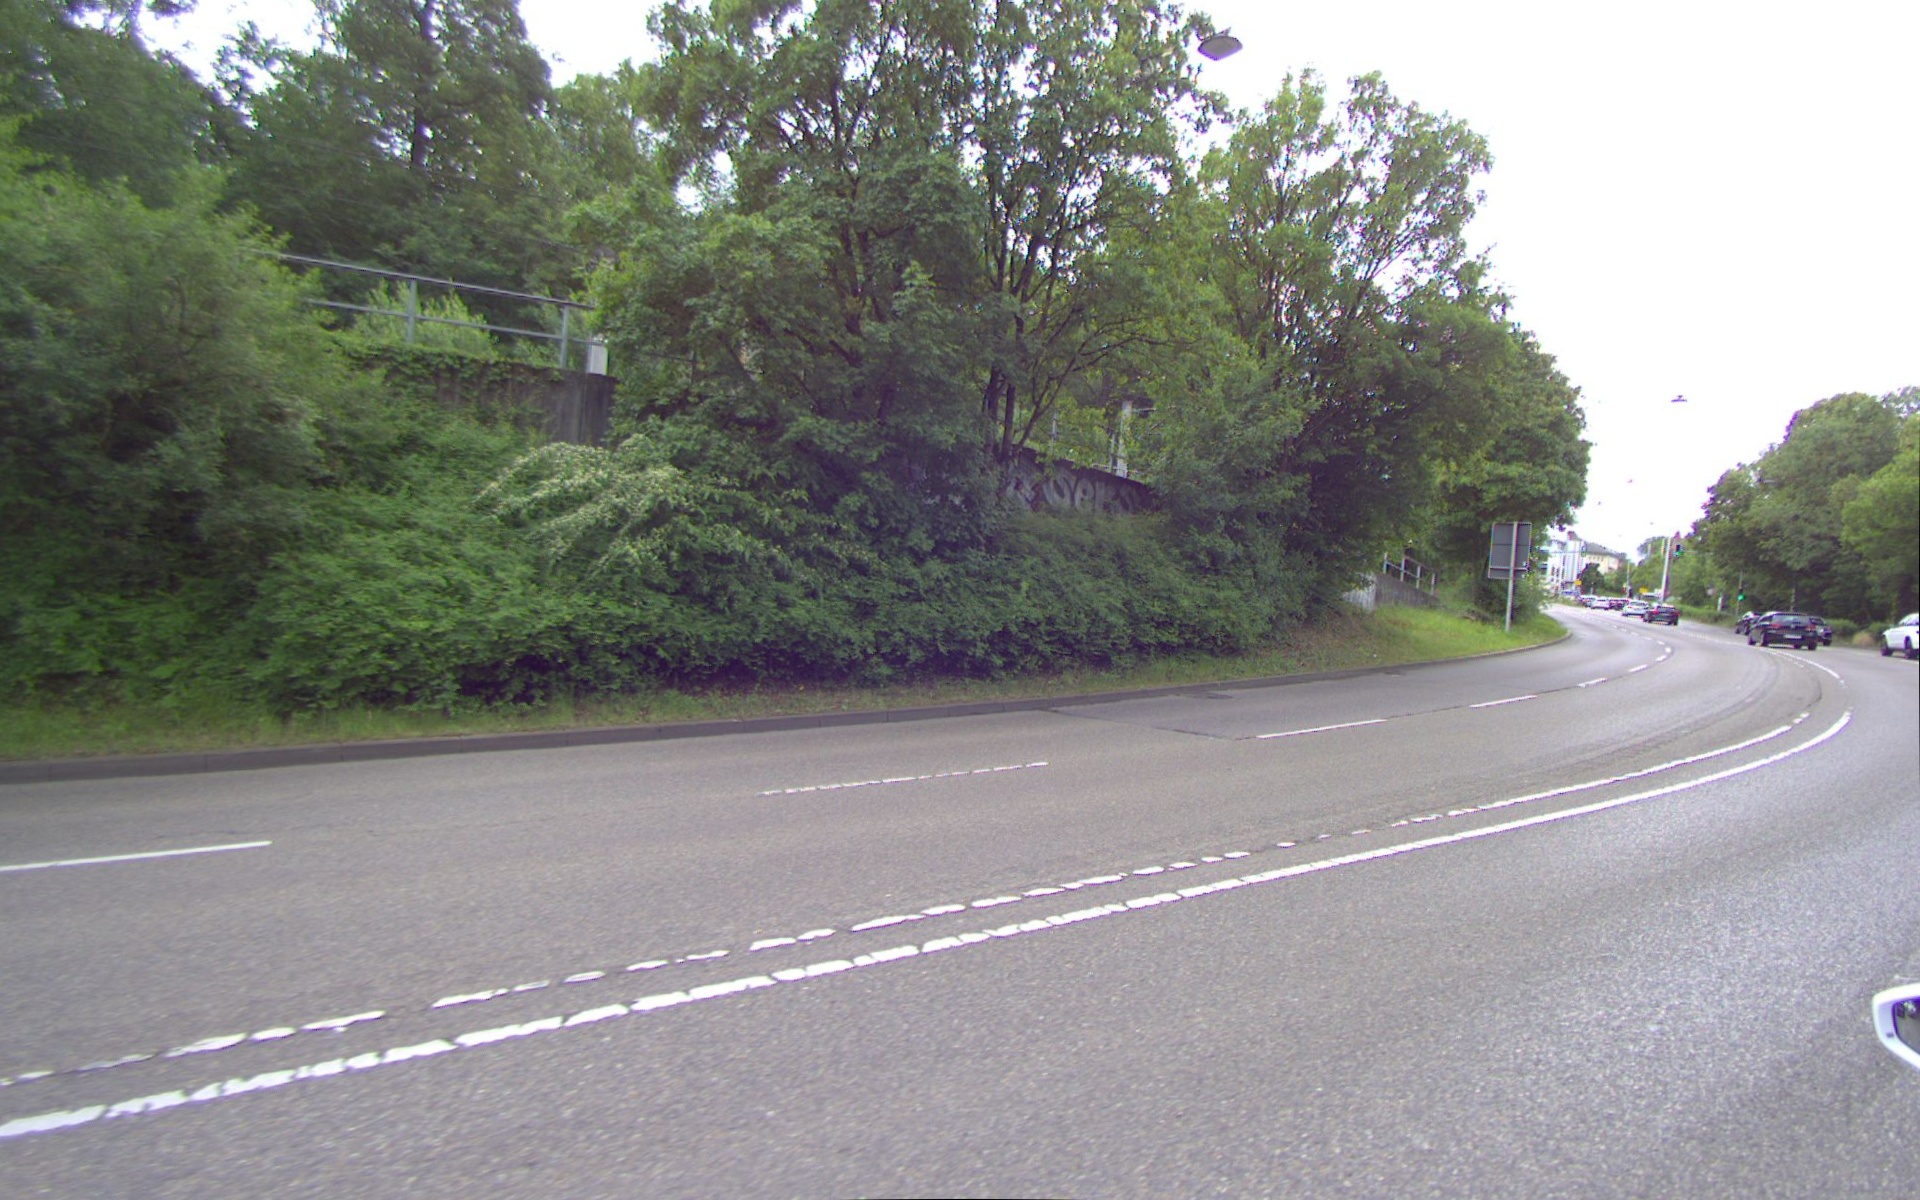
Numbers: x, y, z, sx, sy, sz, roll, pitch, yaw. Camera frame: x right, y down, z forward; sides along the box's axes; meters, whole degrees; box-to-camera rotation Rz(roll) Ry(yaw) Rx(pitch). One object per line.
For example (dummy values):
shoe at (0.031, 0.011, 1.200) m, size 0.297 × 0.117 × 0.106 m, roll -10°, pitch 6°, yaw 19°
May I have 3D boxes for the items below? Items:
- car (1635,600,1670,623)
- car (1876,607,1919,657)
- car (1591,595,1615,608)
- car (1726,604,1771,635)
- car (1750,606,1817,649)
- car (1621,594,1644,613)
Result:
car at (53.076, 0.876, 76.989) m, size 1.968 × 1.507 × 3.985 m, roll 5°, pitch 4°, yaw 36°
car at (34.610, 1.189, 36.025) m, size 1.825 × 1.725 × 3.992 m, roll 1°, pitch -2°, yaw 31°
car at (84.466, 0.210, 131.959) m, size 1.970 × 1.548 × 3.979 m, roll 5°, pitch 4°, yaw 41°
car at (47.252, 1.157, 60.232) m, size 1.742 × 1.628 × 3.987 m, roll 5°, pitch 3°, yaw 34°
car at (33.701, 1.094, 41.175) m, size 1.925 × 1.486 × 3.983 m, roll 5°, pitch 4°, yaw 38°
car at (62.287, 0.283, 93.042) m, size 1.687 × 1.611 × 3.988 m, roll 5°, pitch 3°, yaw 34°
